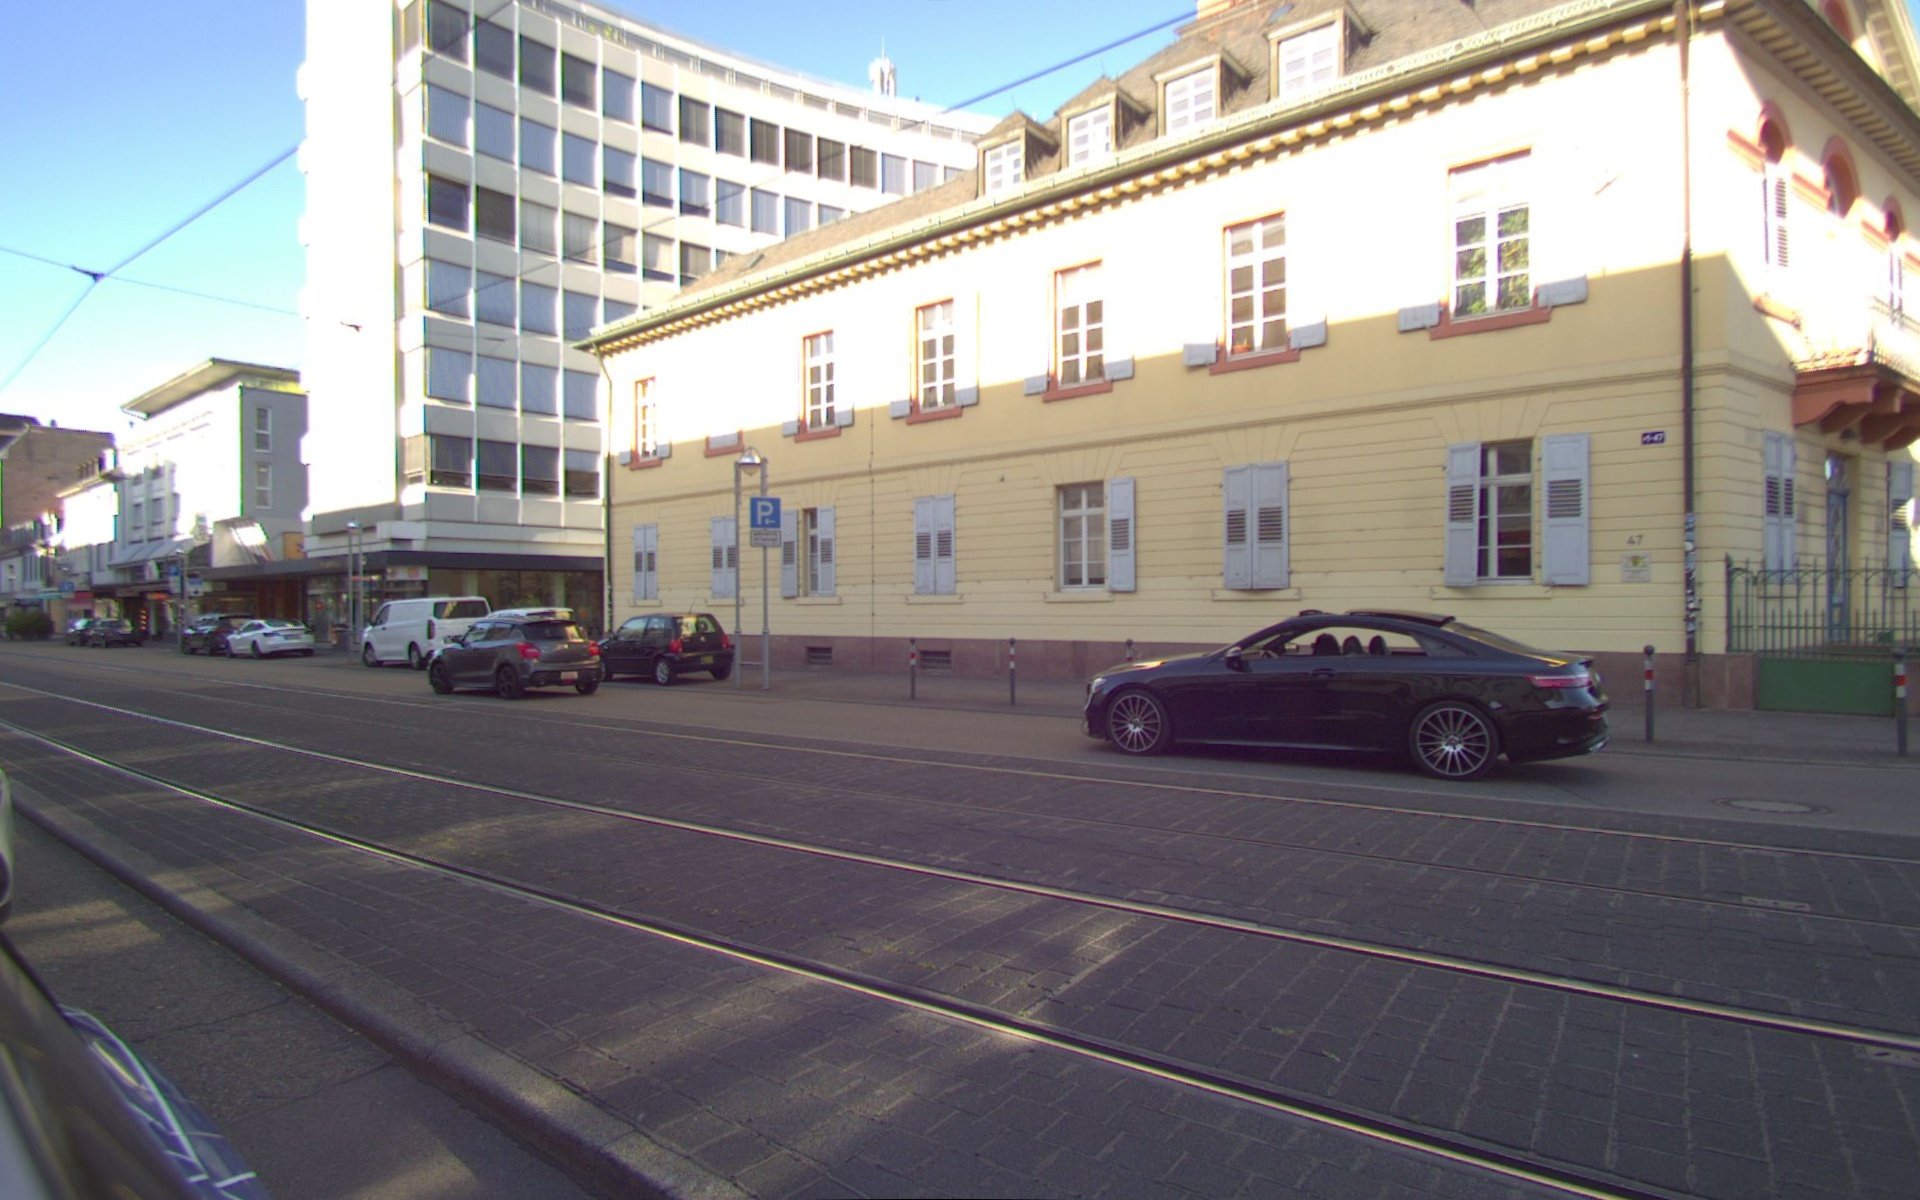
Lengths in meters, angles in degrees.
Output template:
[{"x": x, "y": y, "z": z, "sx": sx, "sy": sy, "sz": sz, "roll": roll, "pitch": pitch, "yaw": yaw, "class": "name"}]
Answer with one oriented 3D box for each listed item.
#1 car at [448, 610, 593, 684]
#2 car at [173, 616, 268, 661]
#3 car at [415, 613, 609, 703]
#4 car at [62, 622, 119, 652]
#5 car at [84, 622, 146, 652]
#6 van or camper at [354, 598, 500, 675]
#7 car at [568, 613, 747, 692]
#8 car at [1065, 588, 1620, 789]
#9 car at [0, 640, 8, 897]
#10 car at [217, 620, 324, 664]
[{"x": -11.078, "y": 1.111, "z": 25.378, "sx": 4.175, "sy": 1.632, "sz": 1.758, "roll": -1, "pitch": 1, "yaw": 42, "class": "car"}, {"x": -29.846, "y": 1.518, "z": 40.816, "sx": 4.275, "sy": 1.654, "sz": 1.908, "roll": -1, "pitch": 1, "yaw": 37, "class": "car"}, {"x": -8.489, "y": 1.036, "z": 19.080, "sx": 3.855, "sy": 1.521, "sz": 1.760, "roll": -1, "pitch": -2, "yaw": 38, "class": "car"}, {"x": -47.979, "y": 2.007, "z": 55.803, "sx": 3.830, "sy": 1.531, "sz": 1.764, "roll": -1, "pitch": 0, "yaw": 40, "class": "car"}, {"x": -43.647, "y": 1.884, "z": 52.256, "sx": 3.593, "sy": 1.427, "sz": 1.764, "roll": -1, "pitch": 0, "yaw": 38, "class": "car"}, {"x": -15.327, "y": 0.989, "z": 29.011, "sx": 4.792, "sy": 1.988, "sz": 1.936, "roll": -1, "pitch": 1, "yaw": 39, "class": "van or camper"}, {"x": -6.493, "y": 1.045, "z": 21.554, "sx": 3.958, "sy": 1.450, "sz": 1.759, "roll": -1, "pitch": 1, "yaw": 40, "class": "car"}, {"x": 3.483, "y": 0.726, "z": 9.673, "sx": 4.654, "sy": 1.521, "sz": 1.763, "roll": -1, "pitch": -2, "yaw": 32, "class": "car"}, {"x": -6.404, "y": 0.899, "z": 5.059, "sx": 4.771, "sy": 1.450, "sz": 1.845, "roll": -1, "pitch": -2, "yaw": 40, "class": "car"}, {"x": -25.594, "y": 1.523, "z": 37.521, "sx": 4.285, "sy": 1.463, "sz": 1.909, "roll": -1, "pitch": 1, "yaw": 36, "class": "car"}]
